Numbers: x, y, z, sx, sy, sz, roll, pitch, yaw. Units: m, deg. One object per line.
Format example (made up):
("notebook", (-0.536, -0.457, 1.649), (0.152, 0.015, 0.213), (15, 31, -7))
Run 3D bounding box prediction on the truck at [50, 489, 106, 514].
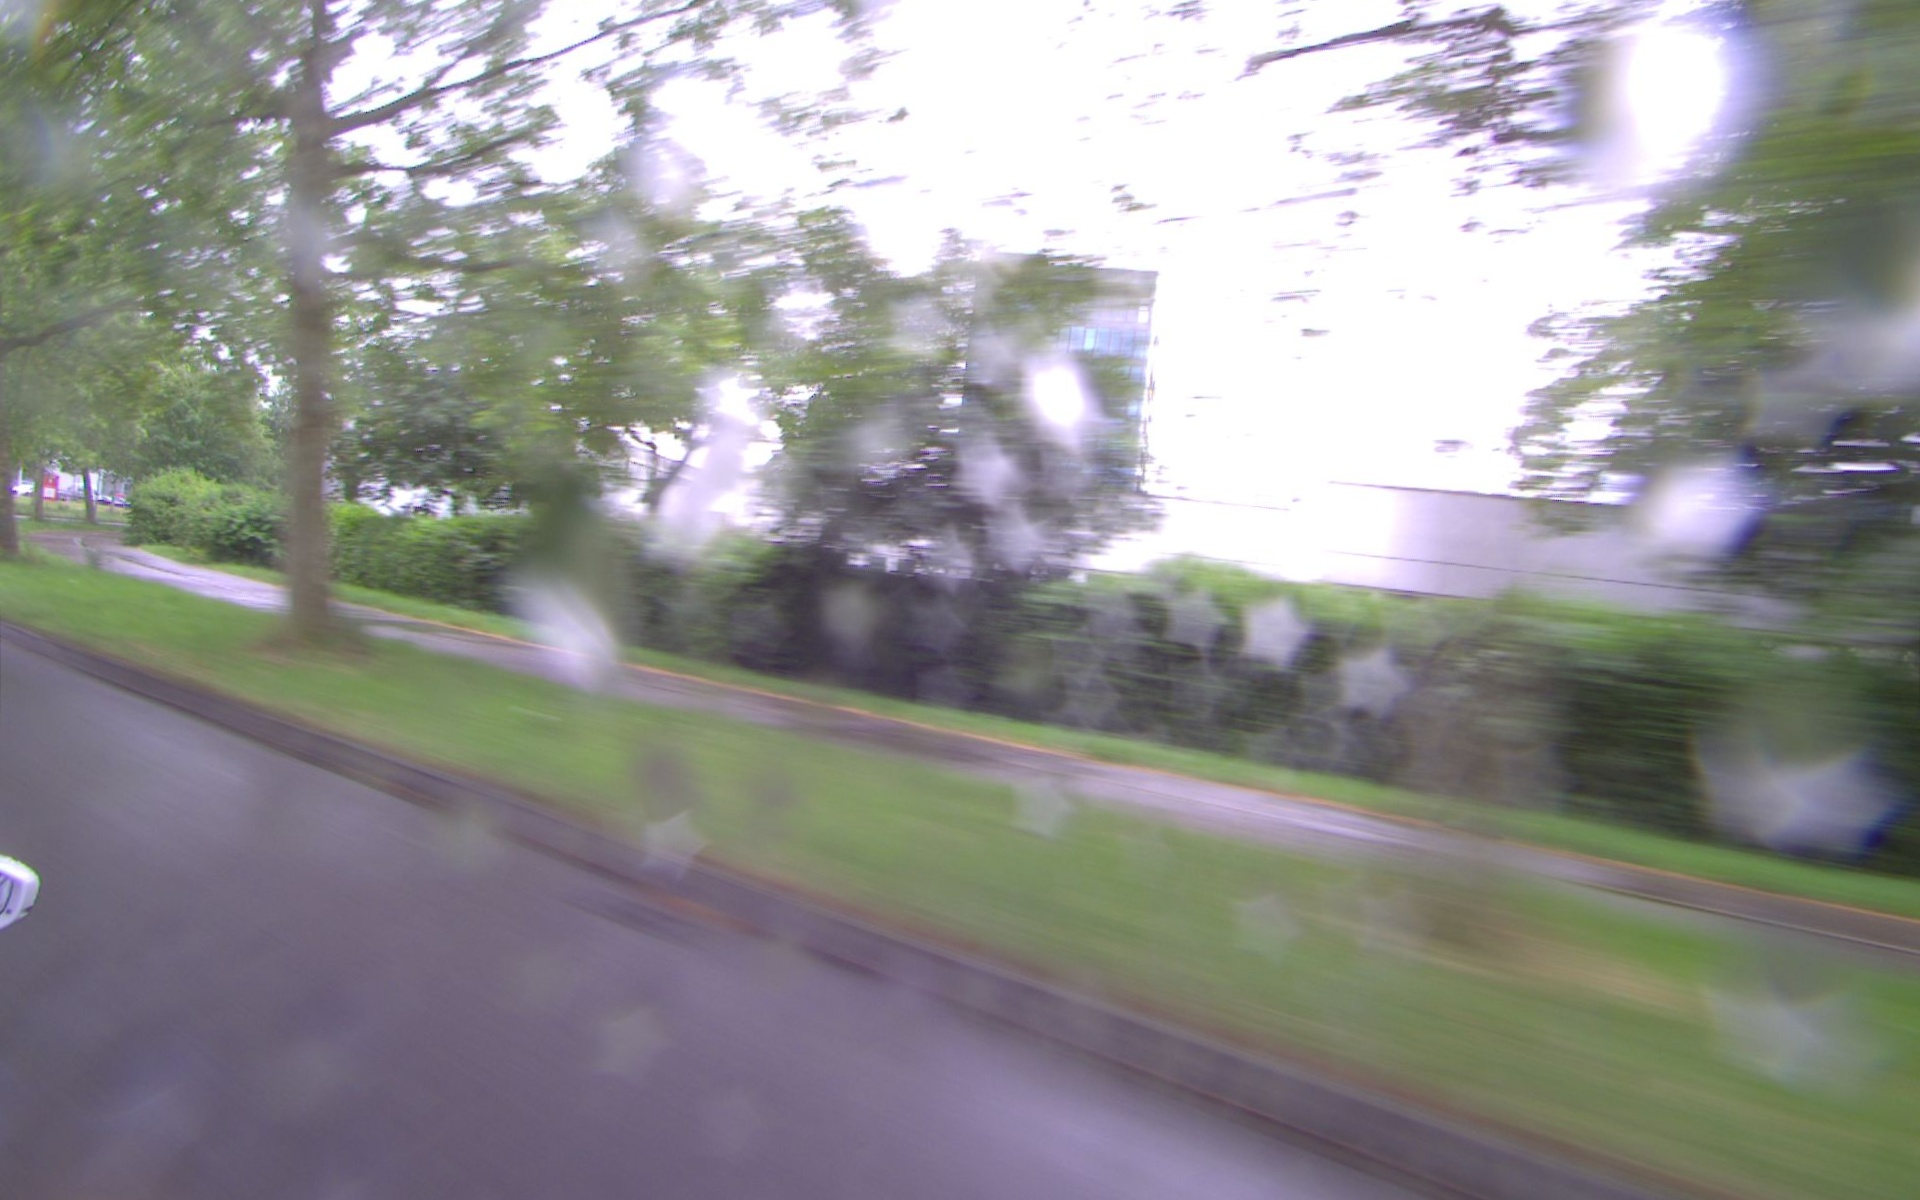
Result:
("truck", (-116.726, -13.031, 133.225), (2.218, 2.372, 6.183), (11, 0, -8))
